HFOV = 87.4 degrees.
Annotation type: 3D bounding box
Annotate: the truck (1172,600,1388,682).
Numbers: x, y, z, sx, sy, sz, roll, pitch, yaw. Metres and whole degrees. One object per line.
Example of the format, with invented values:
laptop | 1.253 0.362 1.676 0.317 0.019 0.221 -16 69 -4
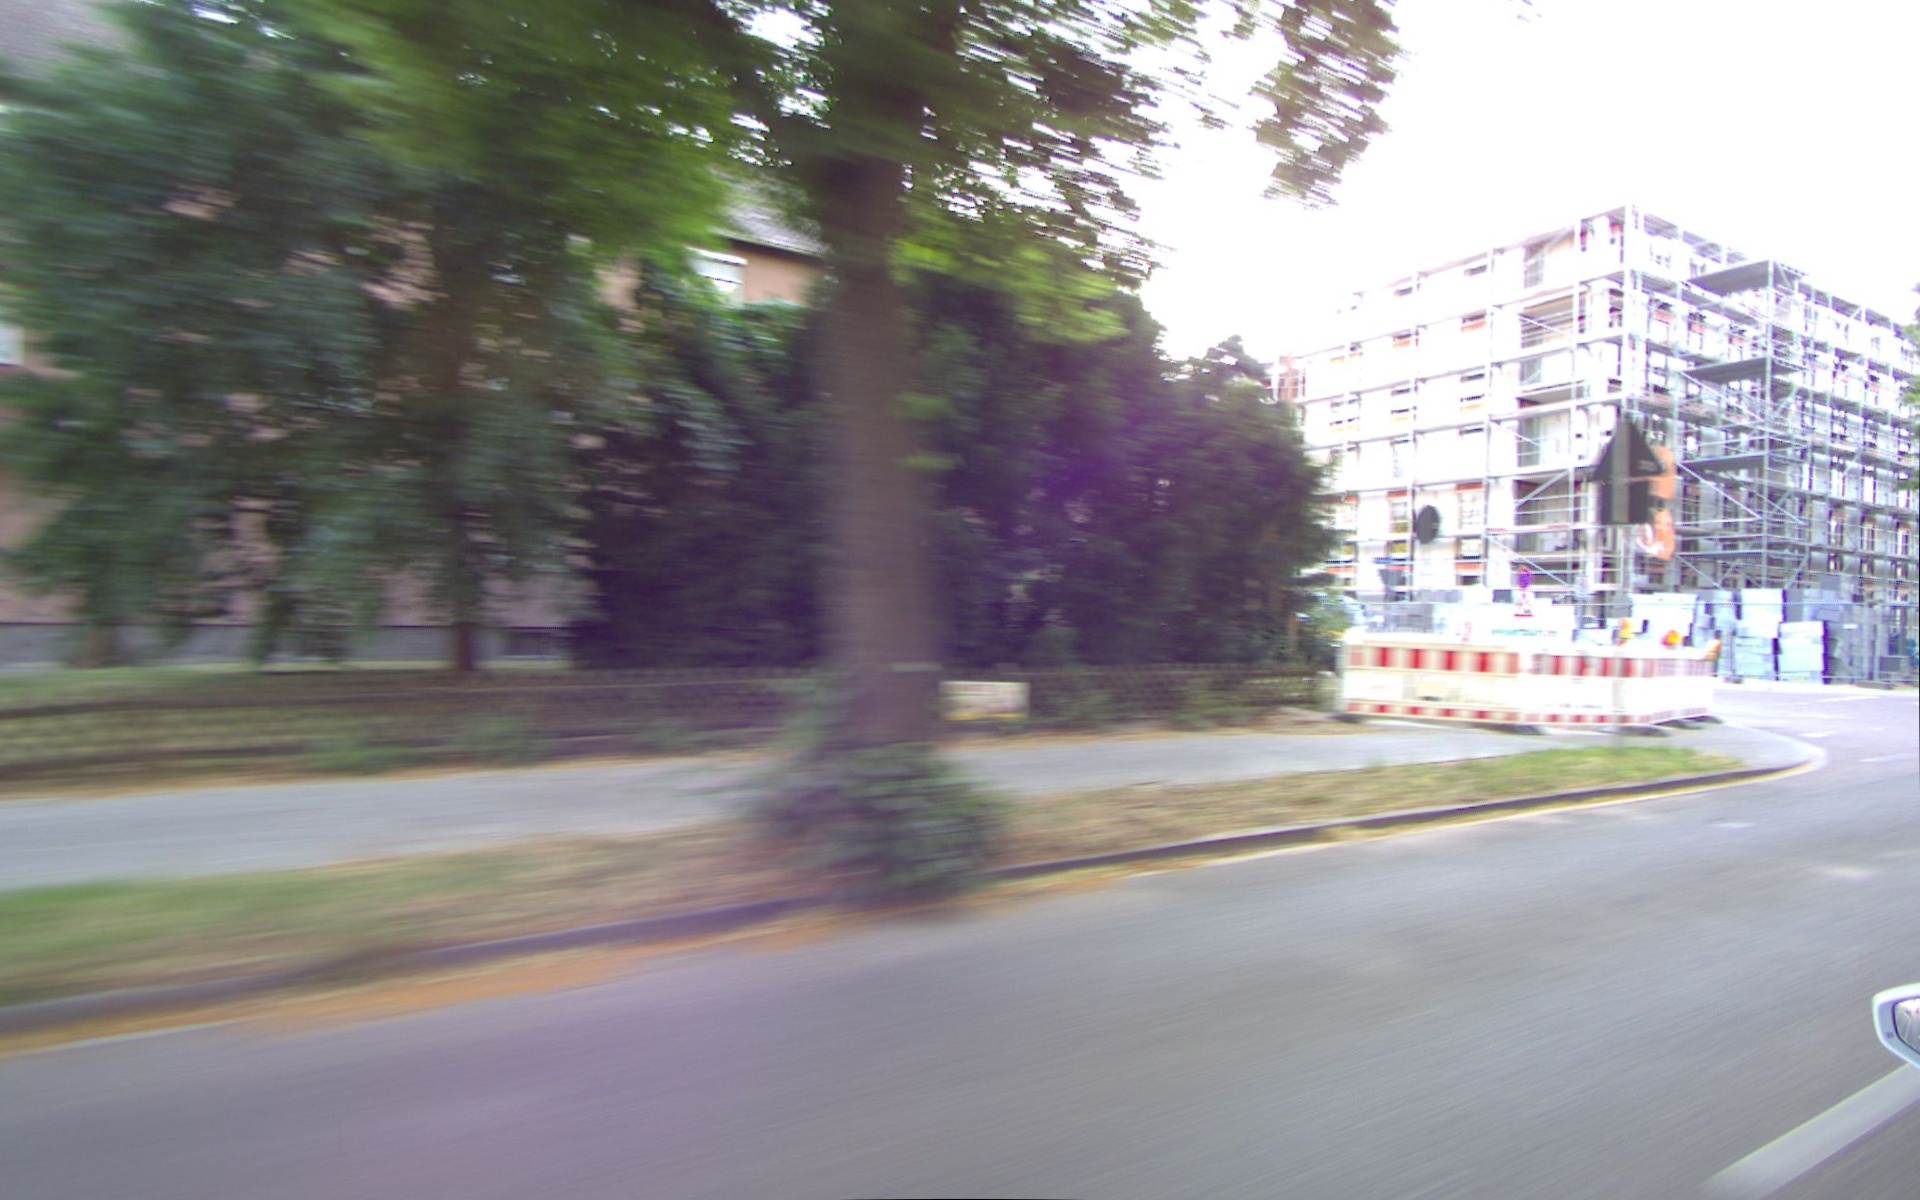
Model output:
truck | 8.315 1.045 26.749 2.017 1.938 5.617 3 -2 -29
